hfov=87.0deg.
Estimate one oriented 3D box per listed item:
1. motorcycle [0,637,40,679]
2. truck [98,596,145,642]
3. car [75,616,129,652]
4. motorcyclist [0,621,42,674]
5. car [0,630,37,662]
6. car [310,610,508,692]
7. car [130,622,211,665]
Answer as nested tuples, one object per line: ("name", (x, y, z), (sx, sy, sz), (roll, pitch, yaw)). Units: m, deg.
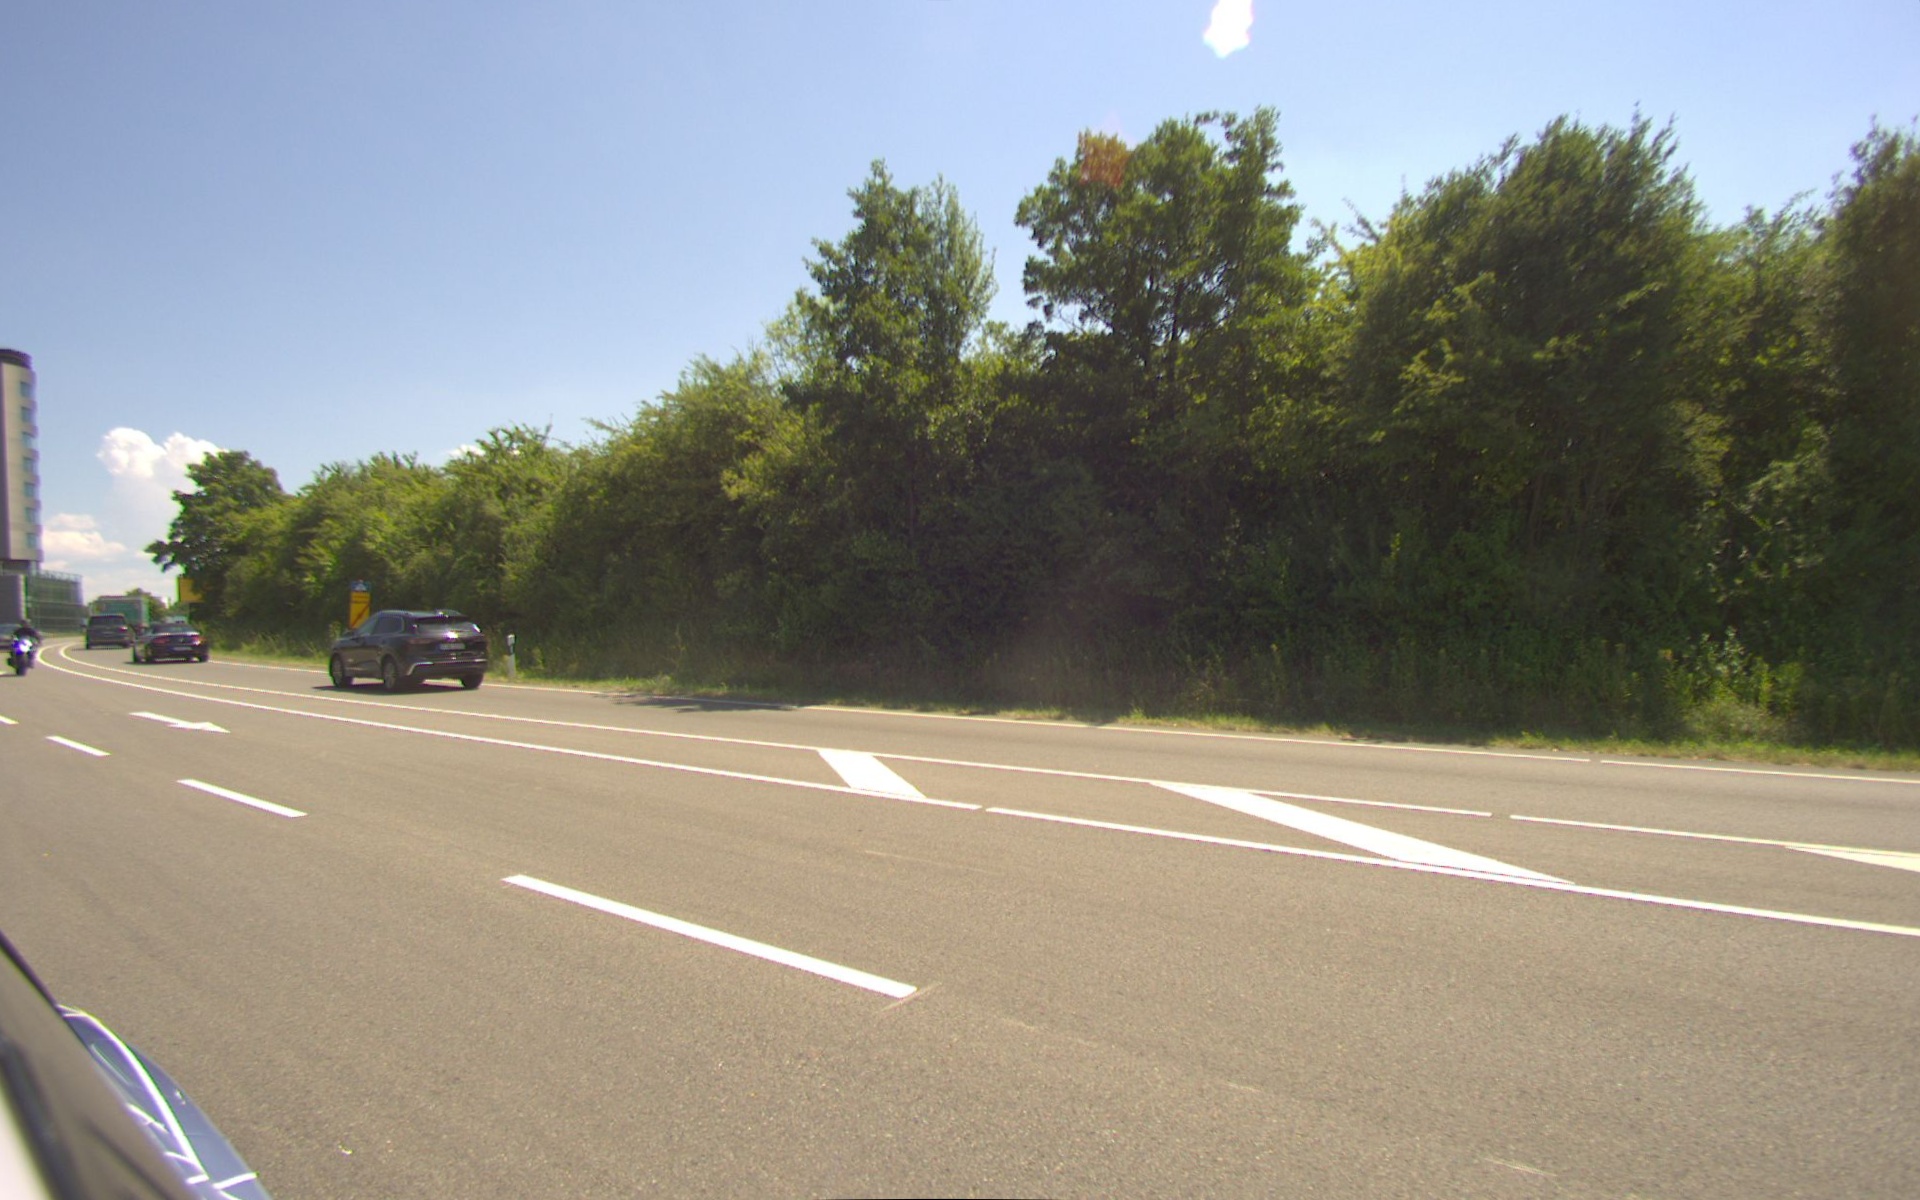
("motorcycle", (-27.098, 1.647, 29.139), (2.073, 1.147, 0.724), (-2, -3, 44))
("truck", (-69.471, 1.586, 83.993), (2.832, 3.601, 9.448), (0, -1, -38))
("car", (-48.257, 1.879, 56.895), (1.970, 1.909, 5.107), (0, -1, -44))
("motorcyclist", (-27.009, 1.358, 29.067), (1.162, 1.500, 0.849), (-3, -3, 44))
("car", (-50.333, 2.409, 53.399), (2.085, 1.603, 4.458), (-1, 0, -39))
("car", (-11.957, 1.042, 21.853), (4.673, 1.605, 1.976), (-1, -1, 36))
("car", (-28.680, 1.545, 36.708), (1.796, 1.453, 4.646), (1, -2, -45))
